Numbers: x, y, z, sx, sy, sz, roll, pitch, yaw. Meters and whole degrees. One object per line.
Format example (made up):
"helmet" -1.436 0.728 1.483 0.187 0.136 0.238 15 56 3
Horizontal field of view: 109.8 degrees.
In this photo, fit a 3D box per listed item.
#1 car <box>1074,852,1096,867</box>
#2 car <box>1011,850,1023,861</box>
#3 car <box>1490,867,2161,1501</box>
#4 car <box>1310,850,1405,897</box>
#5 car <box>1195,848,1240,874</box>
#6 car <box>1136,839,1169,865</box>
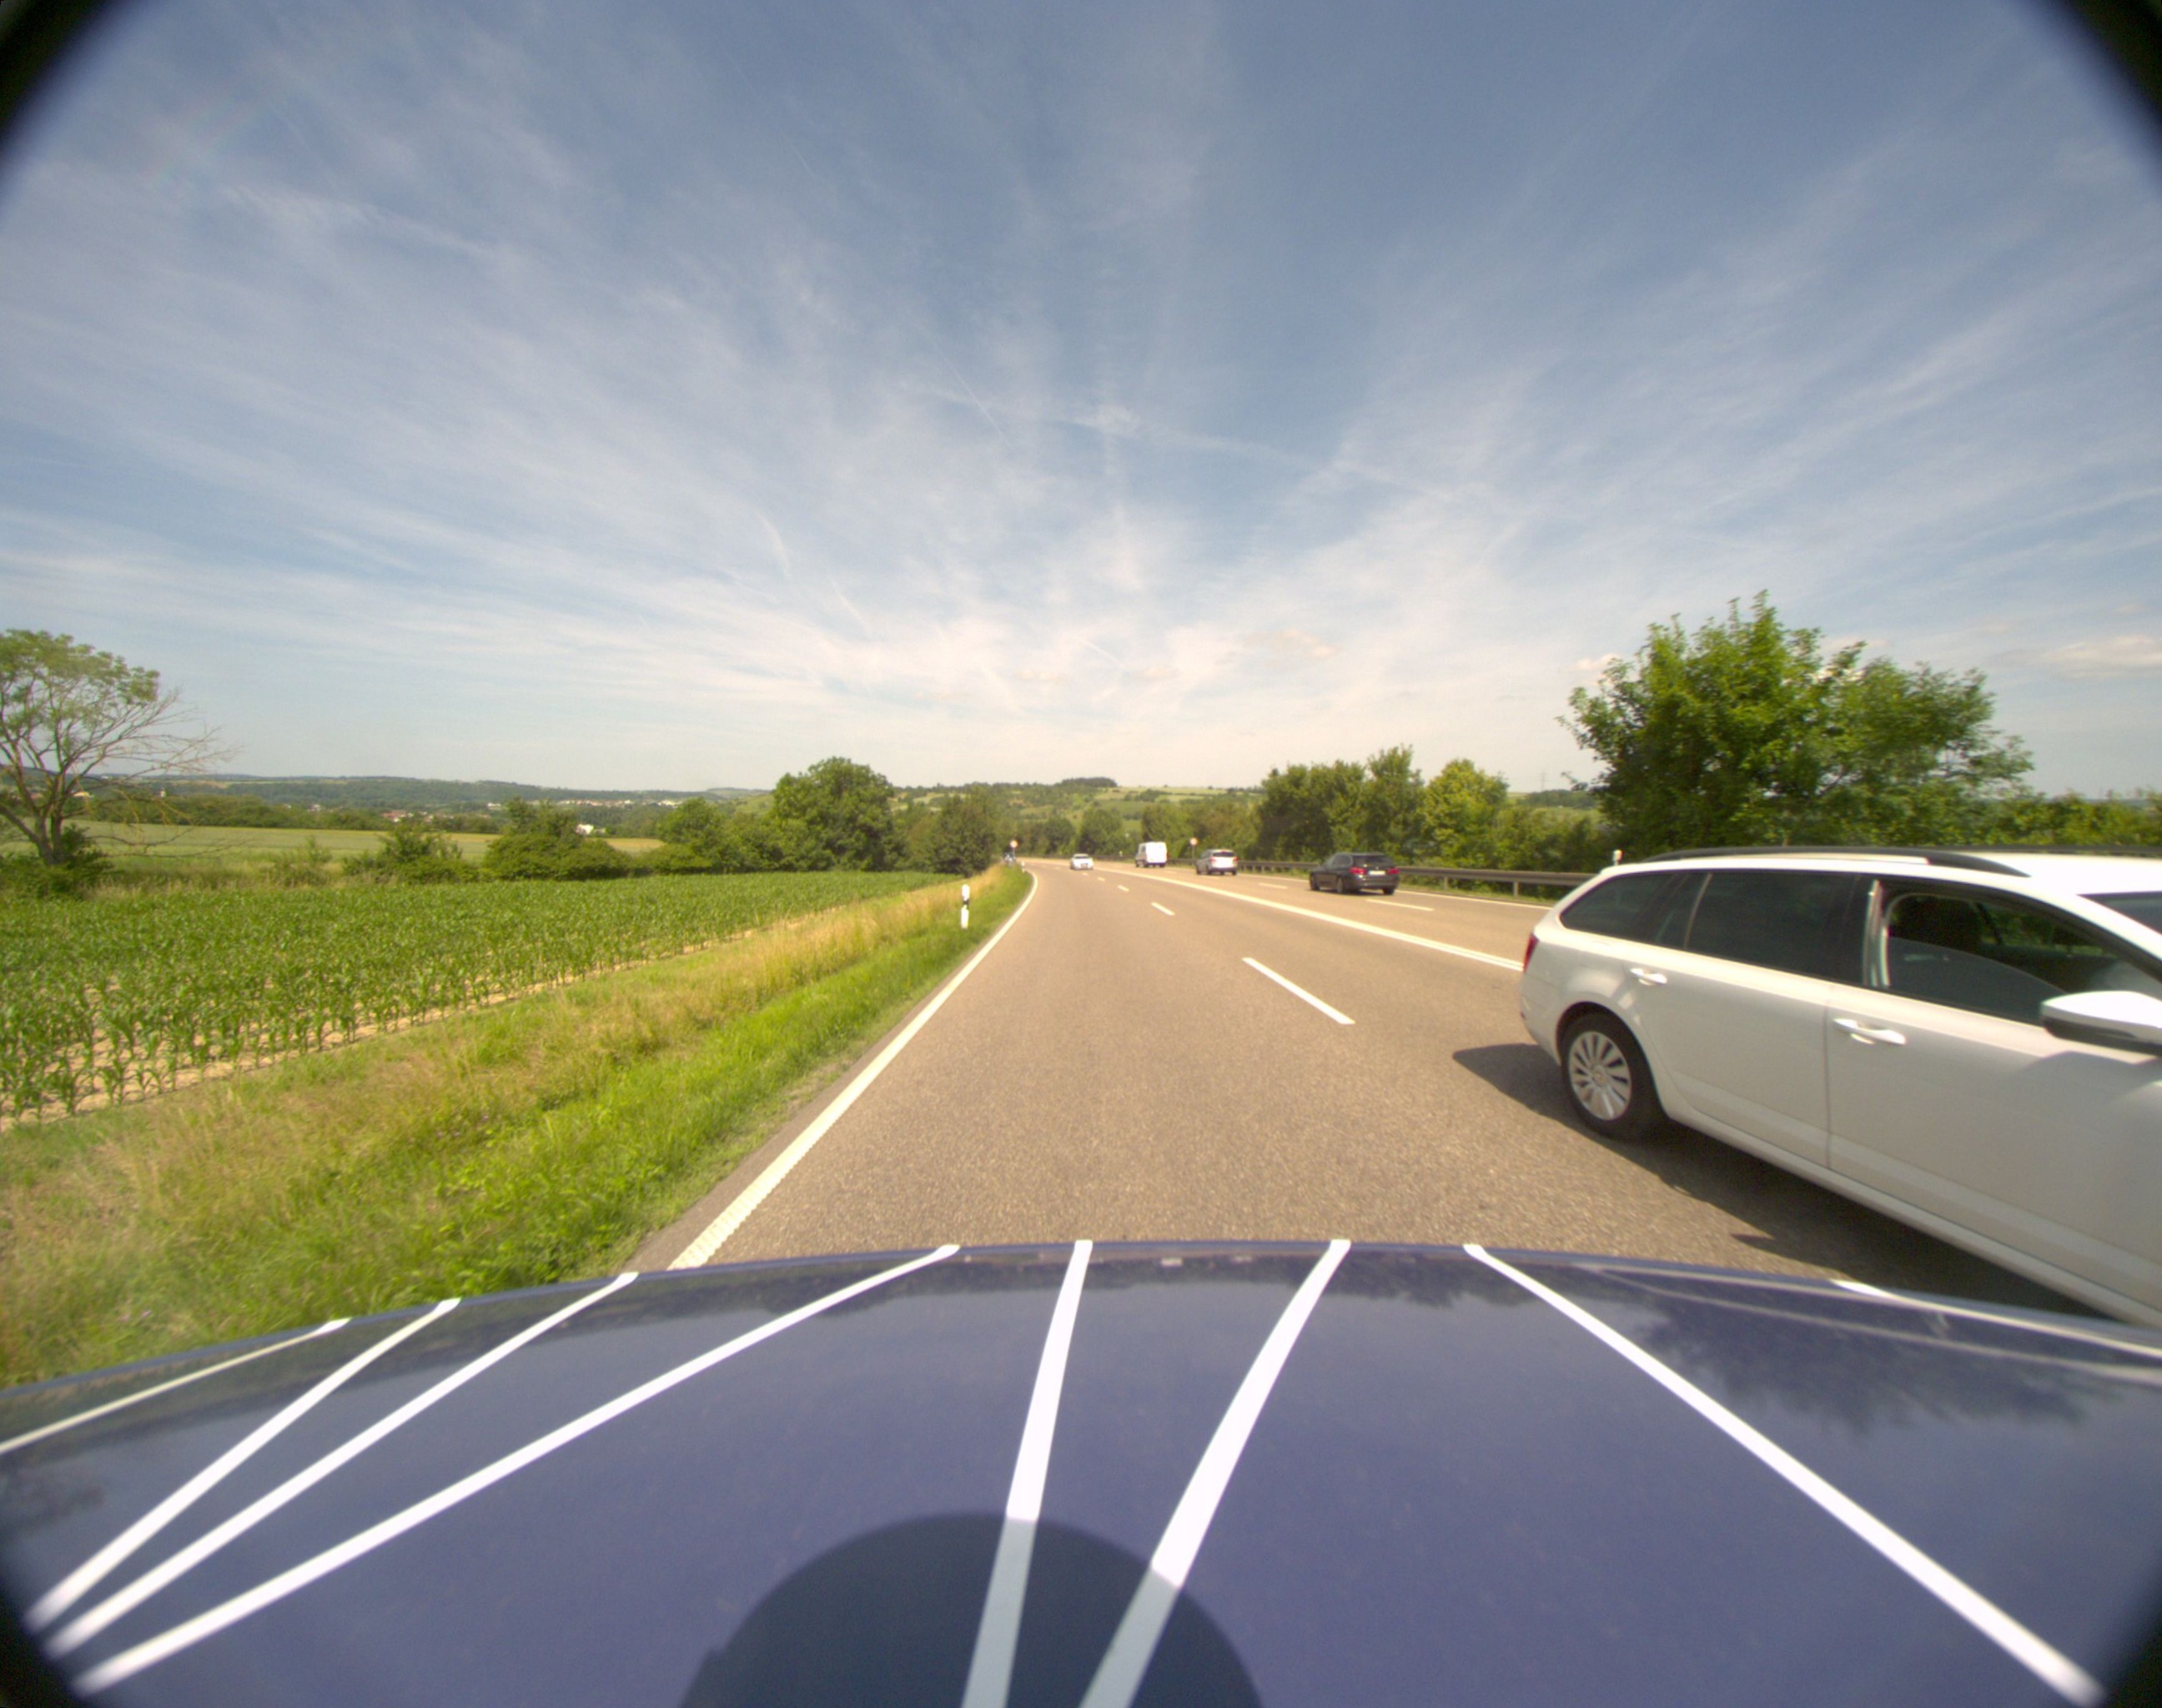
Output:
"car" 0.350 0.501 71.145 1.708 1.368 4.601 -1 0 -3
"car" -9.489 0.207 112.782 1.636 1.522 3.913 -4 1 -4
"car" 3.541 0.839 2.349 1.826 1.463 4.787 -1 0 -2
"car" 9.463 0.606 26.341 1.722 1.453 4.214 -1 1 0
"car" 8.702 0.409 48.811 1.818 1.559 4.682 0 0 -3
"car" 6.879 -0.169 73.918 2.095 2.381 5.840 -1 0 -6
